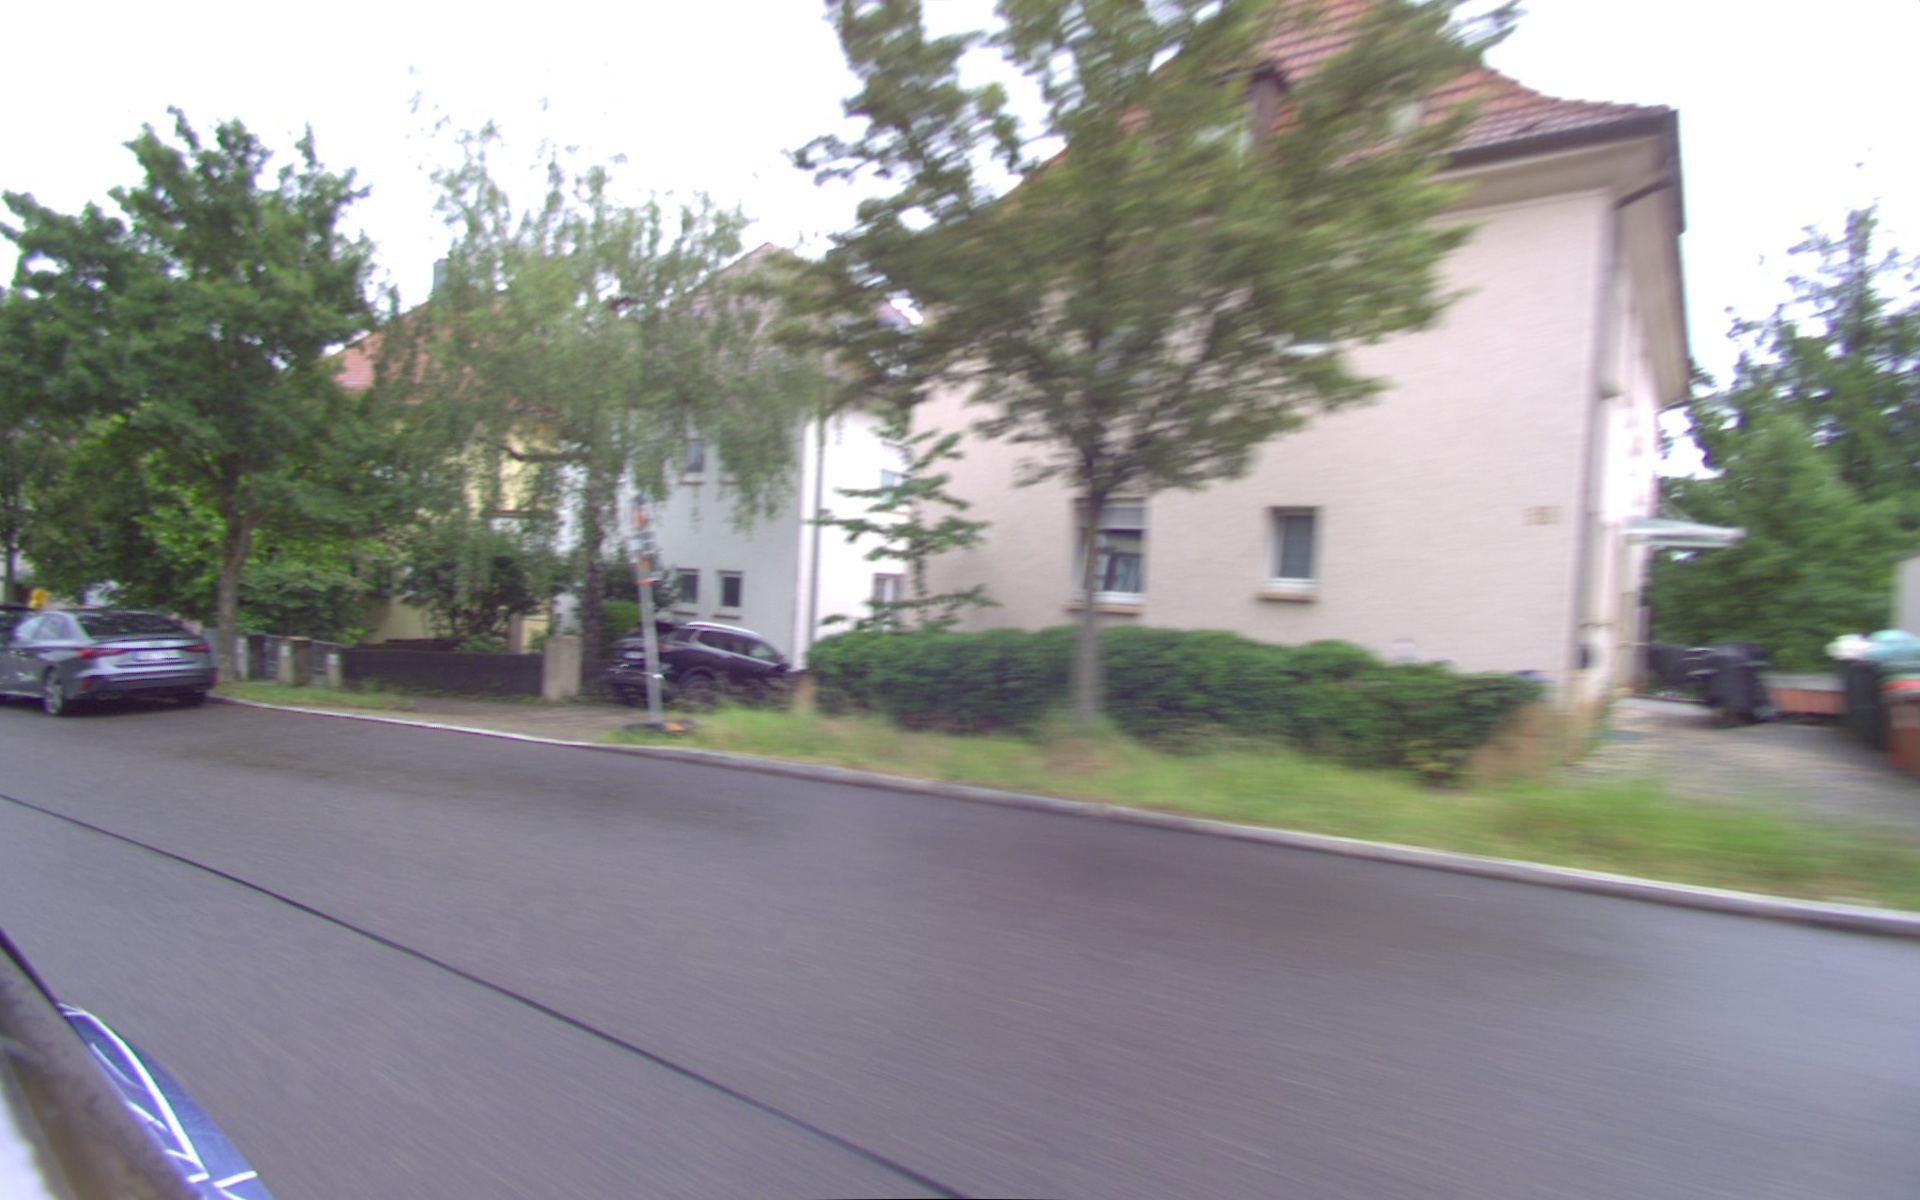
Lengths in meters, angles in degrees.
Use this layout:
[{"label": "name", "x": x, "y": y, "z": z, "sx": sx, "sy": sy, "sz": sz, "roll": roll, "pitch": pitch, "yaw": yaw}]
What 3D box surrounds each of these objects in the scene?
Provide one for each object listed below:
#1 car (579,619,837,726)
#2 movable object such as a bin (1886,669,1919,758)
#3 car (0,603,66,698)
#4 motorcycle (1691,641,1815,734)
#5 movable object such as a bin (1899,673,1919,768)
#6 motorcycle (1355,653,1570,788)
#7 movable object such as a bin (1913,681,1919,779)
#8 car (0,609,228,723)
[{"label": "car", "x": -4.476, "y": 1.376, "z": 18.539, "sx": 1.912, "sy": 1.516, "sz": 4.197, "roll": 0, "pitch": -8, "yaw": 39}, {"label": "movable object such as a bin", "x": 10.609, "y": 1.252, "z": 11.144, "sx": 0.555, "sy": 0.928, "sz": 0.504, "roll": -1, "pitch": 0, "yaw": 39}, {"label": "car", "x": -17.230, "y": 0.804, "z": 16.936, "sx": 4.503, "sy": 1.495, "sz": 1.724, "roll": 0, "pitch": 1, "yaw": 24}, {"label": "motorcycle", "x": 10.599, "y": 1.134, "z": 13.511, "sx": 1.902, "sy": 1.098, "sz": 0.646, "roll": 0, "pitch": 1, "yaw": -31}, {"label": "movable object such as a bin", "x": 10.226, "y": 1.258, "z": 10.545, "sx": 0.591, "sy": 0.928, "sz": 0.608, "roll": -1, "pitch": 0, "yaw": 39}, {"label": "motorcycle", "x": 5.326, "y": 1.228, "z": 10.784, "sx": 1.964, "sy": 1.258, "sz": 0.726, "roll": -1, "pitch": 0, "yaw": 34}, {"label": "movable object such as a bin", "x": 9.697, "y": 1.283, "z": 9.822, "sx": 0.591, "sy": 0.928, "sz": 0.679, "roll": -1, "pitch": 0, "yaw": 39}, {"label": "car", "x": -12.767, "y": 0.861, "z": 14.740, "sx": 4.511, "sy": 1.393, "sz": 1.695, "roll": 0, "pitch": 1, "yaw": 29}]
